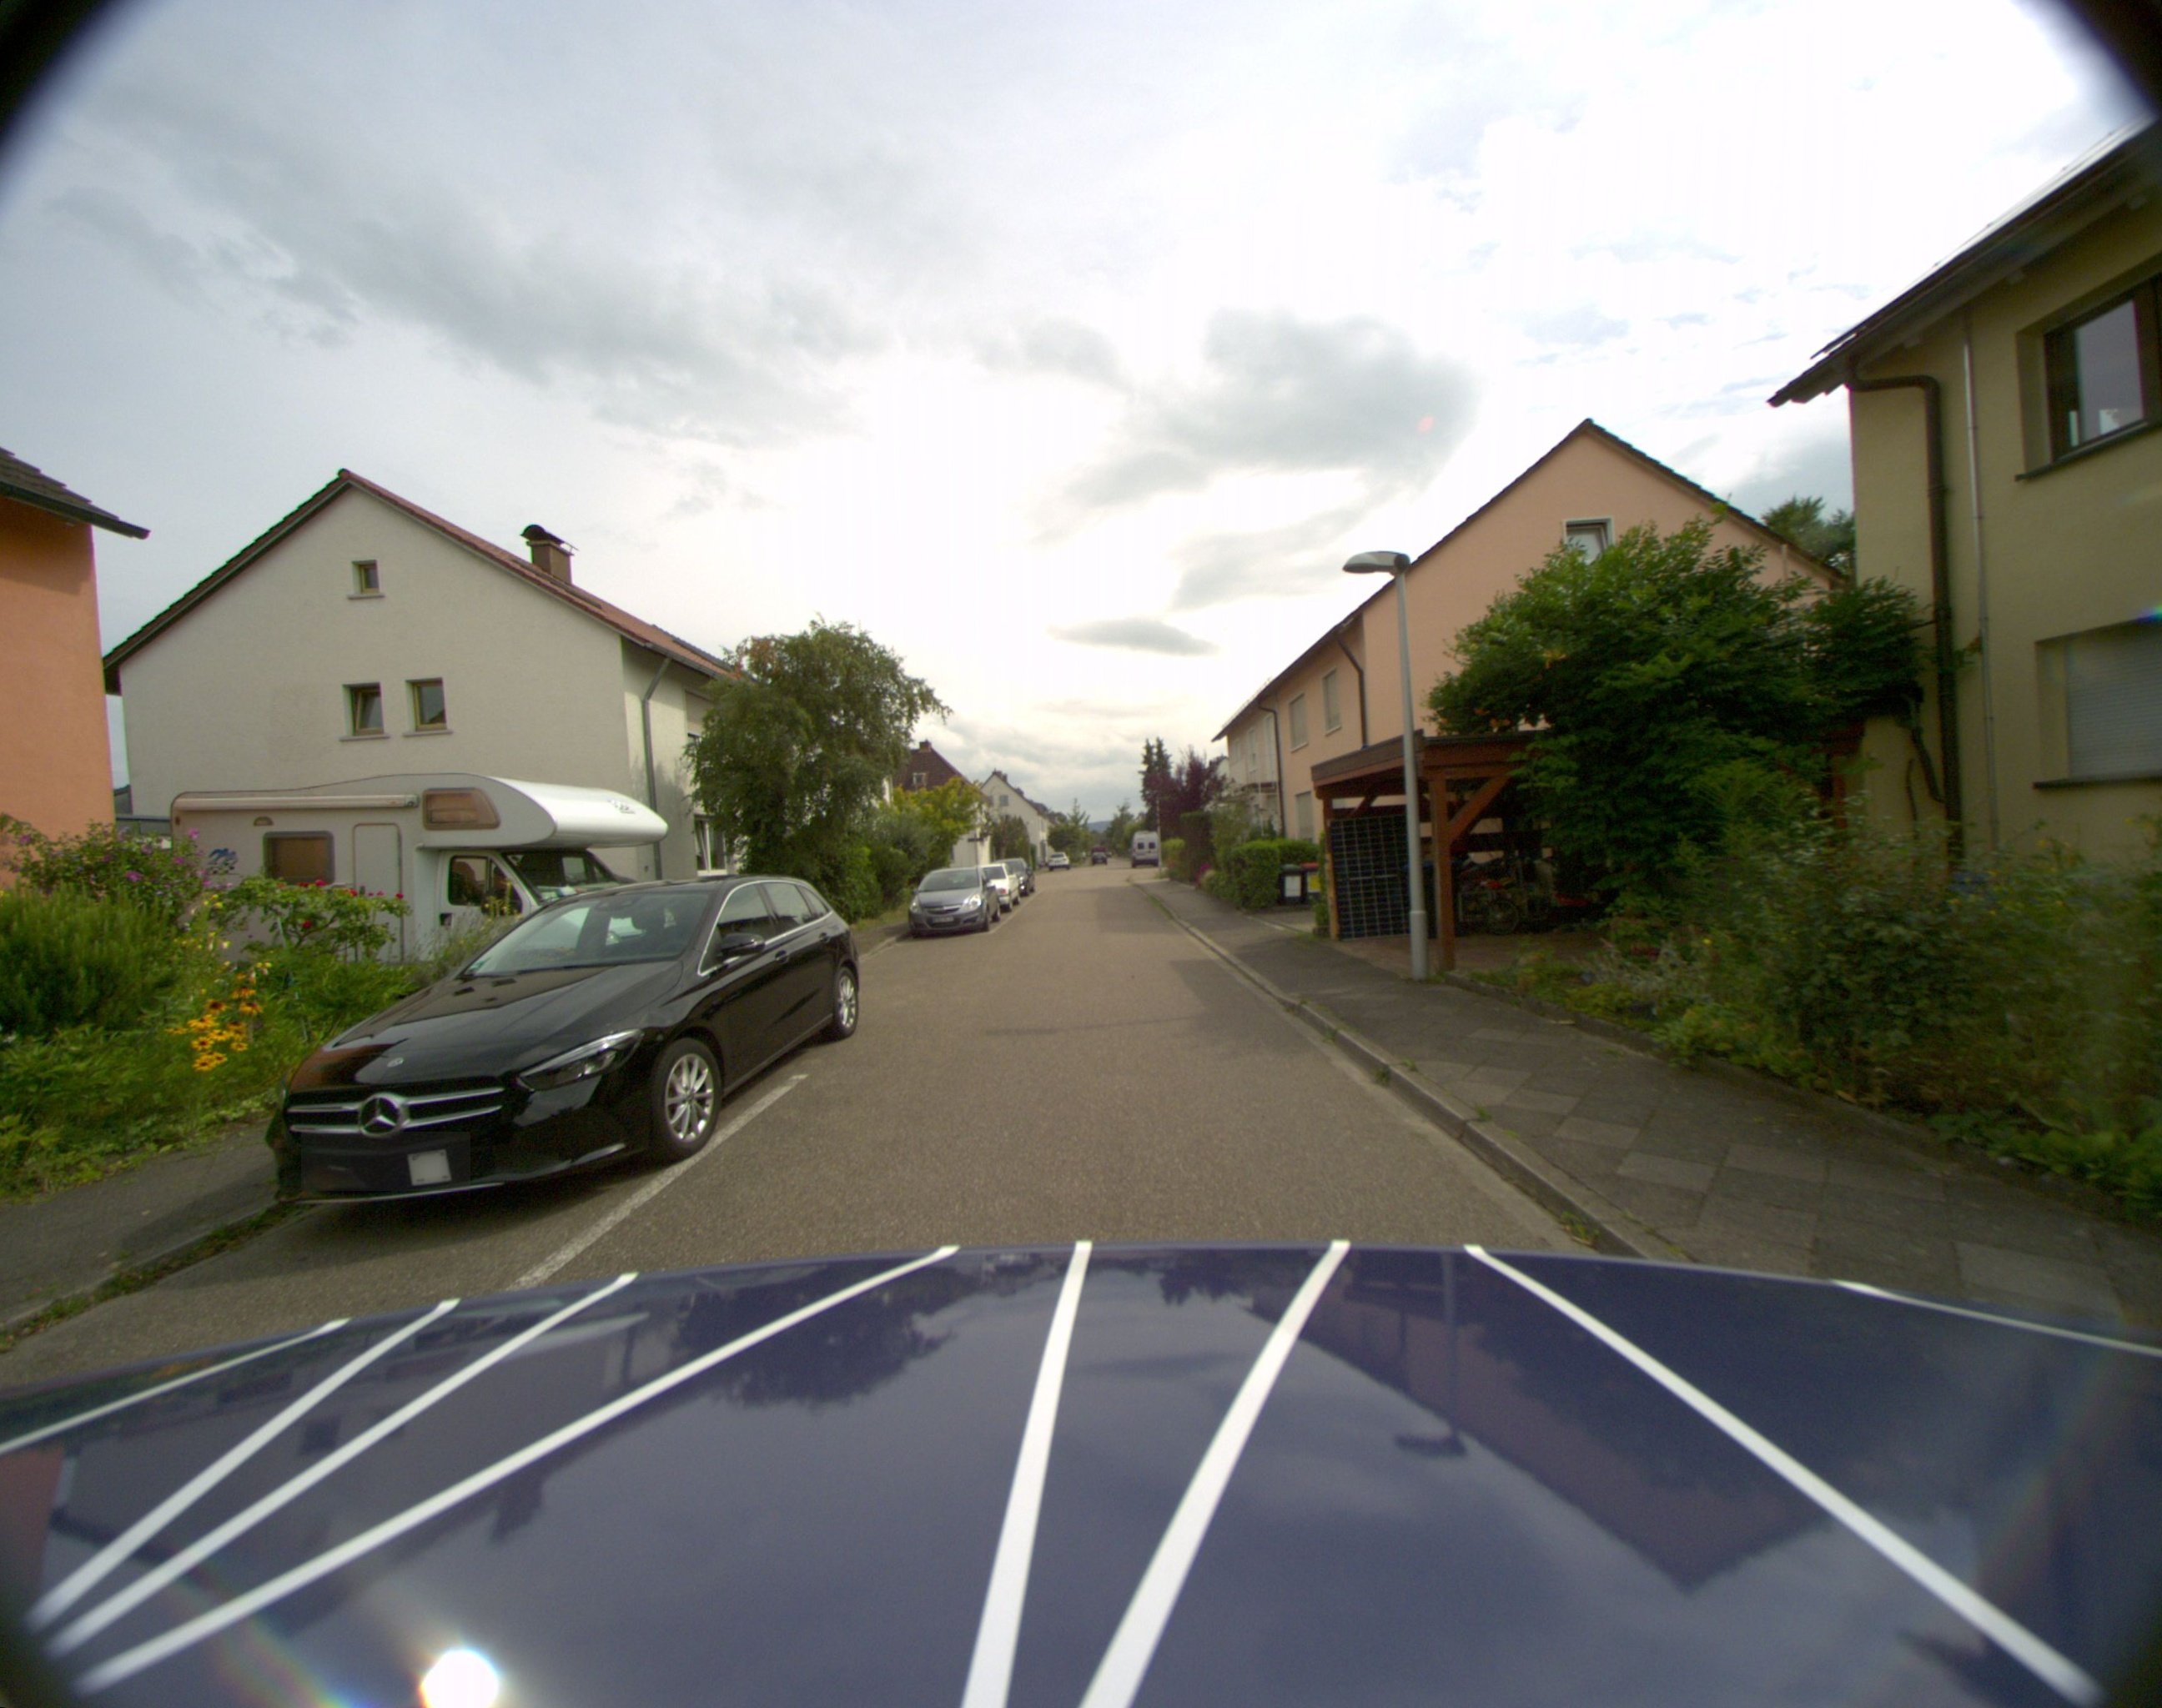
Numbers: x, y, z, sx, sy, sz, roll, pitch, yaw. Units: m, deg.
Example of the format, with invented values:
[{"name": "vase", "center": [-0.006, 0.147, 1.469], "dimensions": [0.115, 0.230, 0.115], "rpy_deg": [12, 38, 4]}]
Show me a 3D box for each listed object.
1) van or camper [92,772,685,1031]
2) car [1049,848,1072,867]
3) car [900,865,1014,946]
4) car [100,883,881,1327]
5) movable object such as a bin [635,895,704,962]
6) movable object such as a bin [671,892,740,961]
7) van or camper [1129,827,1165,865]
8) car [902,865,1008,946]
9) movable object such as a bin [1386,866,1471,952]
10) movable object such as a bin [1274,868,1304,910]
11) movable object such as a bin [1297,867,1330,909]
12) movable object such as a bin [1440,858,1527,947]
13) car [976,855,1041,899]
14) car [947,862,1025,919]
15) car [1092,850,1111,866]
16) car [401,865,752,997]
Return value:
[{"name": "van or camper", "center": [-9.020, 0.605, 10.358], "dimensions": [5.811, 2.801, 2.537], "rpy_deg": [-3, 0, 4]}, {"name": "car", "center": [-1.924, 0.327, 70.498], "dimensions": [1.999, 1.590, 3.999], "rpy_deg": [-4, 1, -2]}, {"name": "car", "center": [-2.740, 1.094, 17.764], "dimensions": [1.746, 1.462, 4.217], "rpy_deg": [-4, 0, 2]}, {"name": "car", "center": [-2.979, 1.103, 5.378], "dimensions": [1.753, 1.458, 4.647], "rpy_deg": [-4, 1, 1]}, {"name": "movable object such as a bin", "center": [-8.033, 1.435, 14.872], "dimensions": [0.655, 1.169, 1.142], "rpy_deg": [-3, 1, 1]}, {"name": "movable object such as a bin", "center": [-7.321, 1.395, 14.862], "dimensions": [0.721, 1.187, 1.099], "rpy_deg": [-3, 1, 1]}, {"name": "van or camper", "center": [5.200, -0.627, 60.596], "dimensions": [2.346, 2.719, 5.747], "rpy_deg": [-4, 1, 2]}, {"name": "car", "center": [-2.790, 1.087, 17.699], "dimensions": [1.707, 1.434, 4.219], "rpy_deg": [-5, 1, -1]}, {"name": "movable object such as a bin", "center": [4.765, 0.737, 10.471], "dimensions": [0.705, 1.065, 0.822], "rpy_deg": [-6, 0, 1]}, {"name": "movable object such as a bin", "center": [4.671, 0.779, 17.071], "dimensions": [0.497, 0.877, 0.530], "rpy_deg": [-4, 1, 1]}, {"name": "movable object such as a bin", "center": [5.212, 0.762, 17.078], "dimensions": [0.539, 0.875, 0.534], "rpy_deg": [-4, 1, 1]}, {"name": "movable object such as a bin", "center": [5.513, 0.640, 10.456], "dimensions": [0.705, 1.123, 0.877], "rpy_deg": [-3, 1, 1]}, {"name": "car", "center": [-2.759, 0.838, 29.980], "dimensions": [1.872, 1.431, 4.850], "rpy_deg": [-4, 1, 2]}, {"name": "car", "center": [-2.782, 1.024, 23.293], "dimensions": [1.697, 1.357, 4.697], "rpy_deg": [-4, 1, 0]}, {"name": "car", "center": [2.468, 0.465, 90.841], "dimensions": [1.998, 1.696, 4.001], "rpy_deg": [-4, 1, 5]}, {"name": "car", "center": [-8.211, 1.220, 12.647], "dimensions": [4.541, 1.698, 1.899], "rpy_deg": [-4, 1, 4]}]
